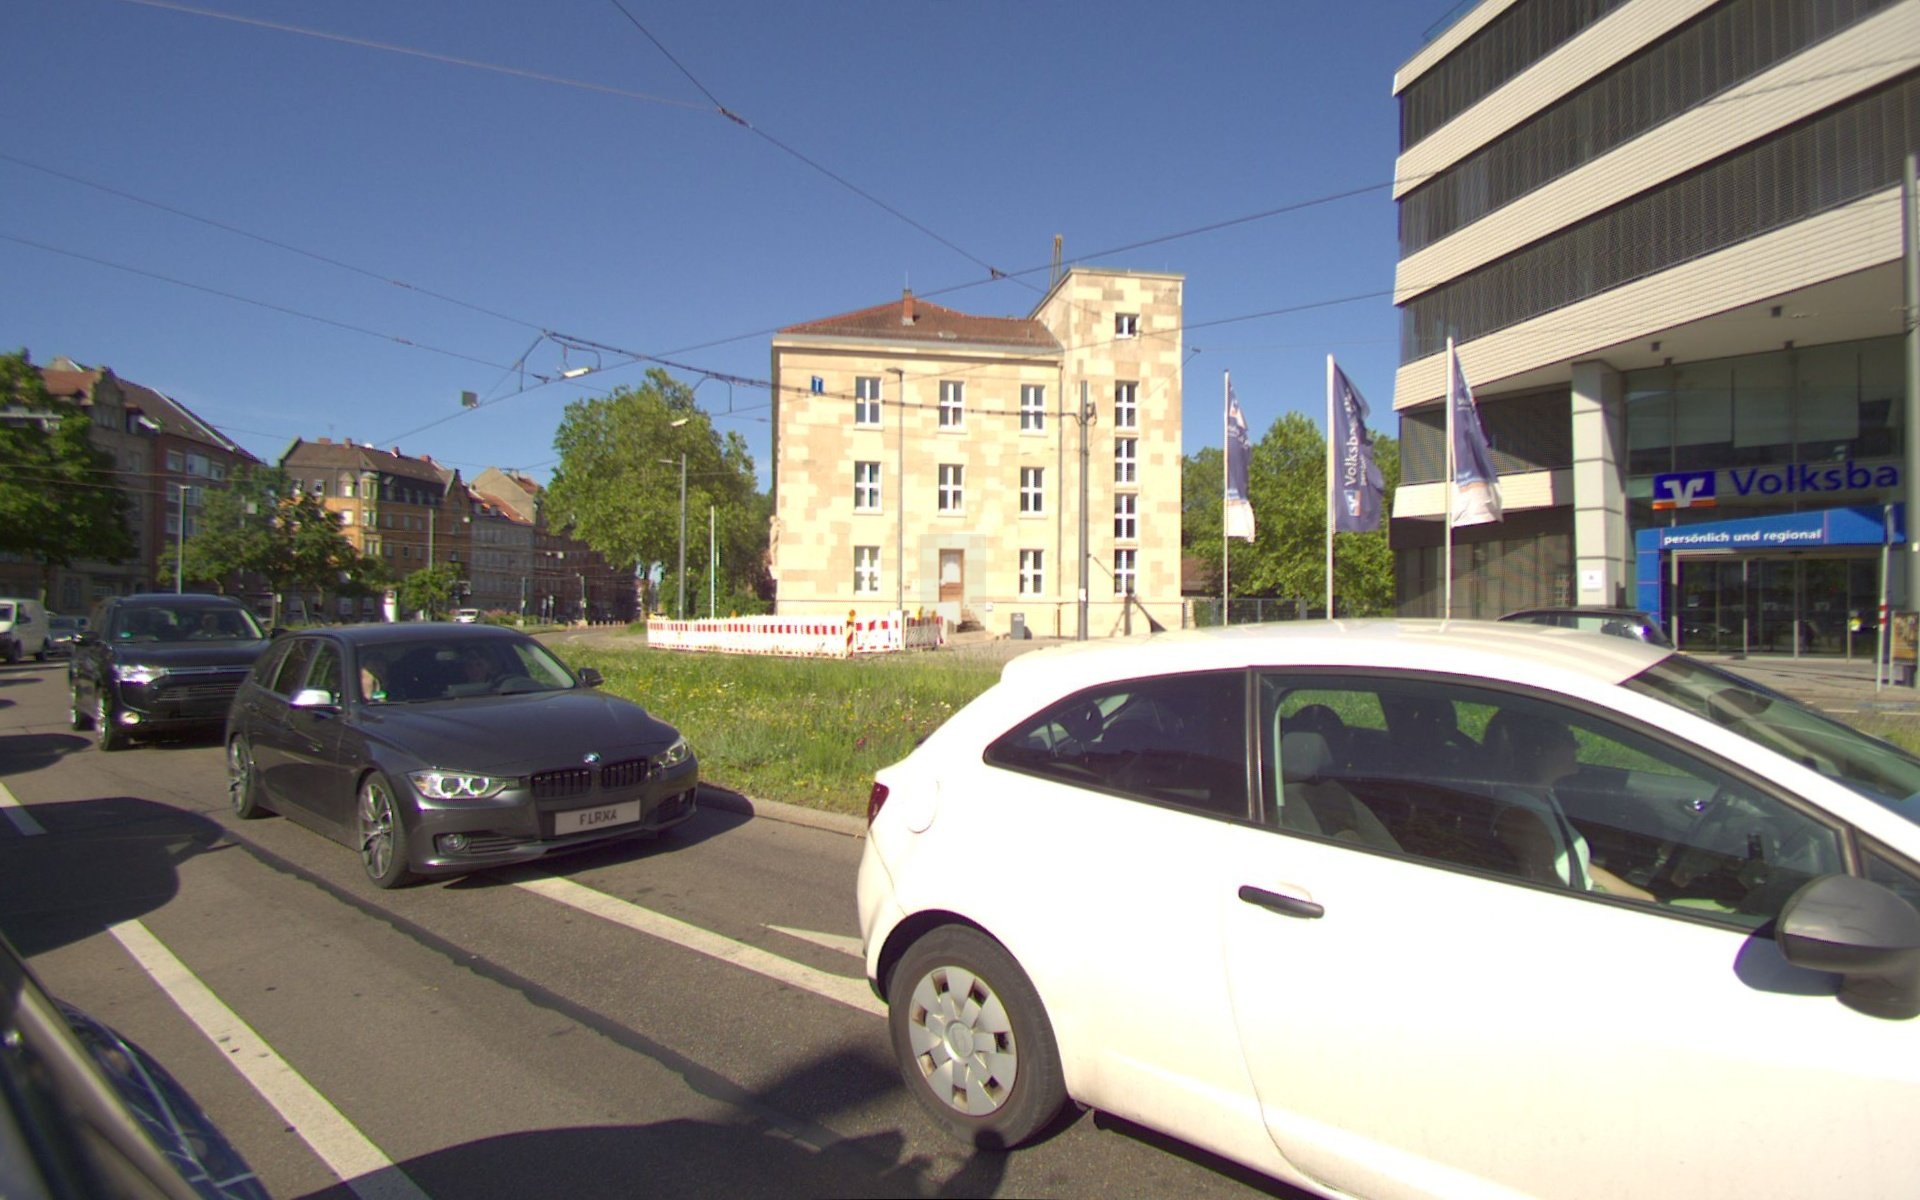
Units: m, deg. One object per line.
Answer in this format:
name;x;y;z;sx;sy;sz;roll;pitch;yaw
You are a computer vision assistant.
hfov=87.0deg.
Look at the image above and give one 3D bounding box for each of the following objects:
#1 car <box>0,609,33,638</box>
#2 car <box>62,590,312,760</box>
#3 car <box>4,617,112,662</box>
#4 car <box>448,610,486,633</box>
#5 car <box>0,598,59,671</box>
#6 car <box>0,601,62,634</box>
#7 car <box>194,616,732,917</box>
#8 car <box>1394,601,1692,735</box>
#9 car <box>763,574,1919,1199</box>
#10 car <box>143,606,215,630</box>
car;-48.755;1.151;50.383;3.768;1.390;1.602;2;-2;-41
car;-9.374;0.771;12.125;1.817;1.658;4.400;-1;-1;-45
car;-32.565;1.397;36.686;1.809;1.483;4.728;2;-1;-28
car;-42.570;1.819;87.445;1.967;1.889;4.602;-1;0;-13
car;-29.582;1.004;30.967;1.949;2.101;4.728;2;-1;-29
car;-49.920;0.891;52.790;4.514;1.680;1.601;2;-2;-43
car;-3.593;0.825;6.873;4.424;1.377;1.719;-1;0;41
car;8.425;0.922;14.759;3.549;1.720;1.560;-2;-2;39
car;1.486;0.692;2.473;4.020;1.452;1.714;0;2;40
car;-53.920;1.274;69.872;3.771;1.603;1.601;2;-2;-44
